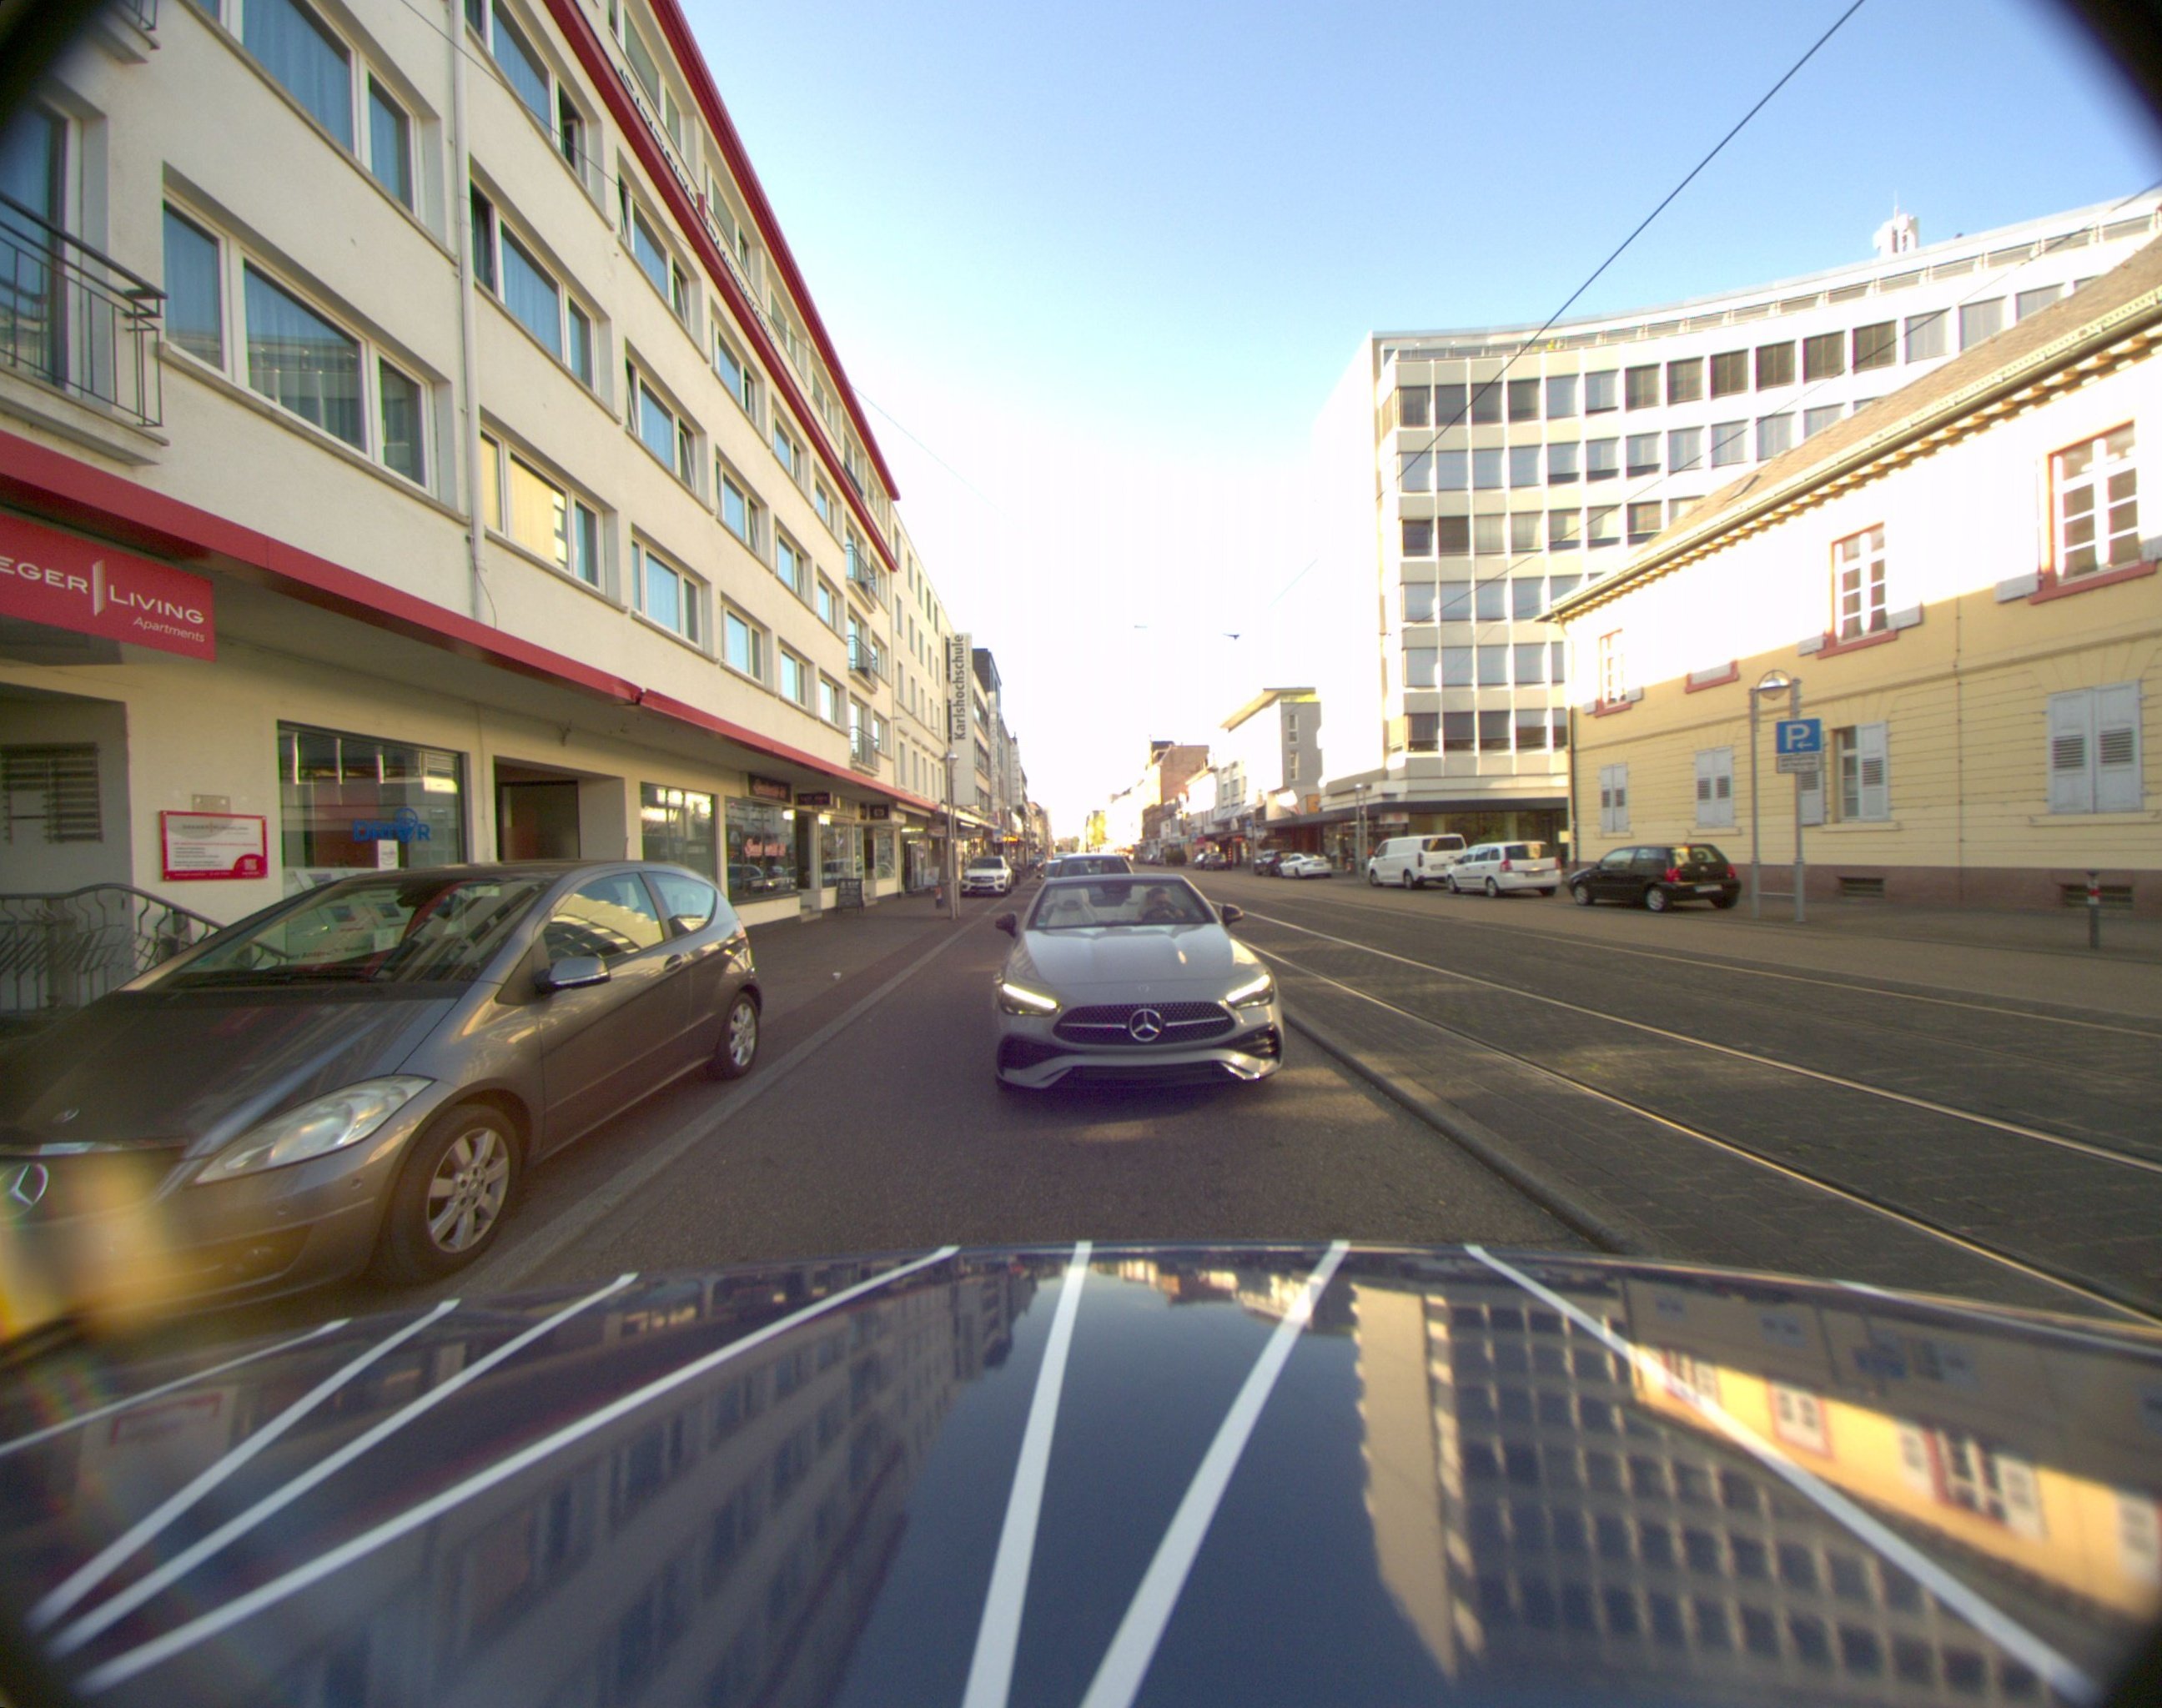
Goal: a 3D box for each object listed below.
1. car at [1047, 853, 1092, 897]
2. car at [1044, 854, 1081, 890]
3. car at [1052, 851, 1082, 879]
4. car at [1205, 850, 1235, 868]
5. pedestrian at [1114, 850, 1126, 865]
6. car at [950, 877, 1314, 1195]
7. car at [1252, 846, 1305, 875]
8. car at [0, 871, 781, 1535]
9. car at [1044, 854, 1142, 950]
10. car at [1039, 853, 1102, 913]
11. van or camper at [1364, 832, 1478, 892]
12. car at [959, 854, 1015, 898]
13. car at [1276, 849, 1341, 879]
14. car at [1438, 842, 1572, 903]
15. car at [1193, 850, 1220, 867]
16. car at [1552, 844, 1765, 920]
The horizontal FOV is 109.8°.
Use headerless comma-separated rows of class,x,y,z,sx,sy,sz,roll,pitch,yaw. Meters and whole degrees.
car,-0.456,0.829,31.912,1.737,1.654,3.960,0,1,0
car,-0.867,0.846,37.393,1.737,1.654,3.781,0,1,0
car,-0.856,0.639,46.608,1.737,1.654,3.960,0,1,0
car,11.947,0.386,65.608,1.786,1.408,3.596,-2,1,-2
pedestrian,4.708,0.408,92.071,1.035,1.811,1.007,-3,2,-45
car,0.256,1.009,6.301,1.869,1.431,4.773,0,1,0
car,12.308,0.389,47.658,1.931,1.632,4.280,-4,1,-3
car,-3.219,0.943,3.902,1.781,1.560,3.960,0,1,0
car,0.199,0.856,15.521,1.737,1.654,3.960,0,1,0
car,-0.317,0.833,23.594,1.783,1.654,3.960,0,1,0
van or camper,12.723,0.252,28.819,1.960,1.962,4.796,-3,1,-2
car,-3.802,0.843,31.402,1.783,1.654,4.162,0,1,0
car,12.516,0.501,42.118,1.931,1.444,4.291,-4,1,-5
car,12.726,0.485,23.148,1.781,1.611,4.175,-3,1,2
car,11.676,0.403,70.998,1.786,1.511,3.832,-2,1,-1
car,12.914,0.536,17.340,1.781,1.431,3.960,-3,1,0
